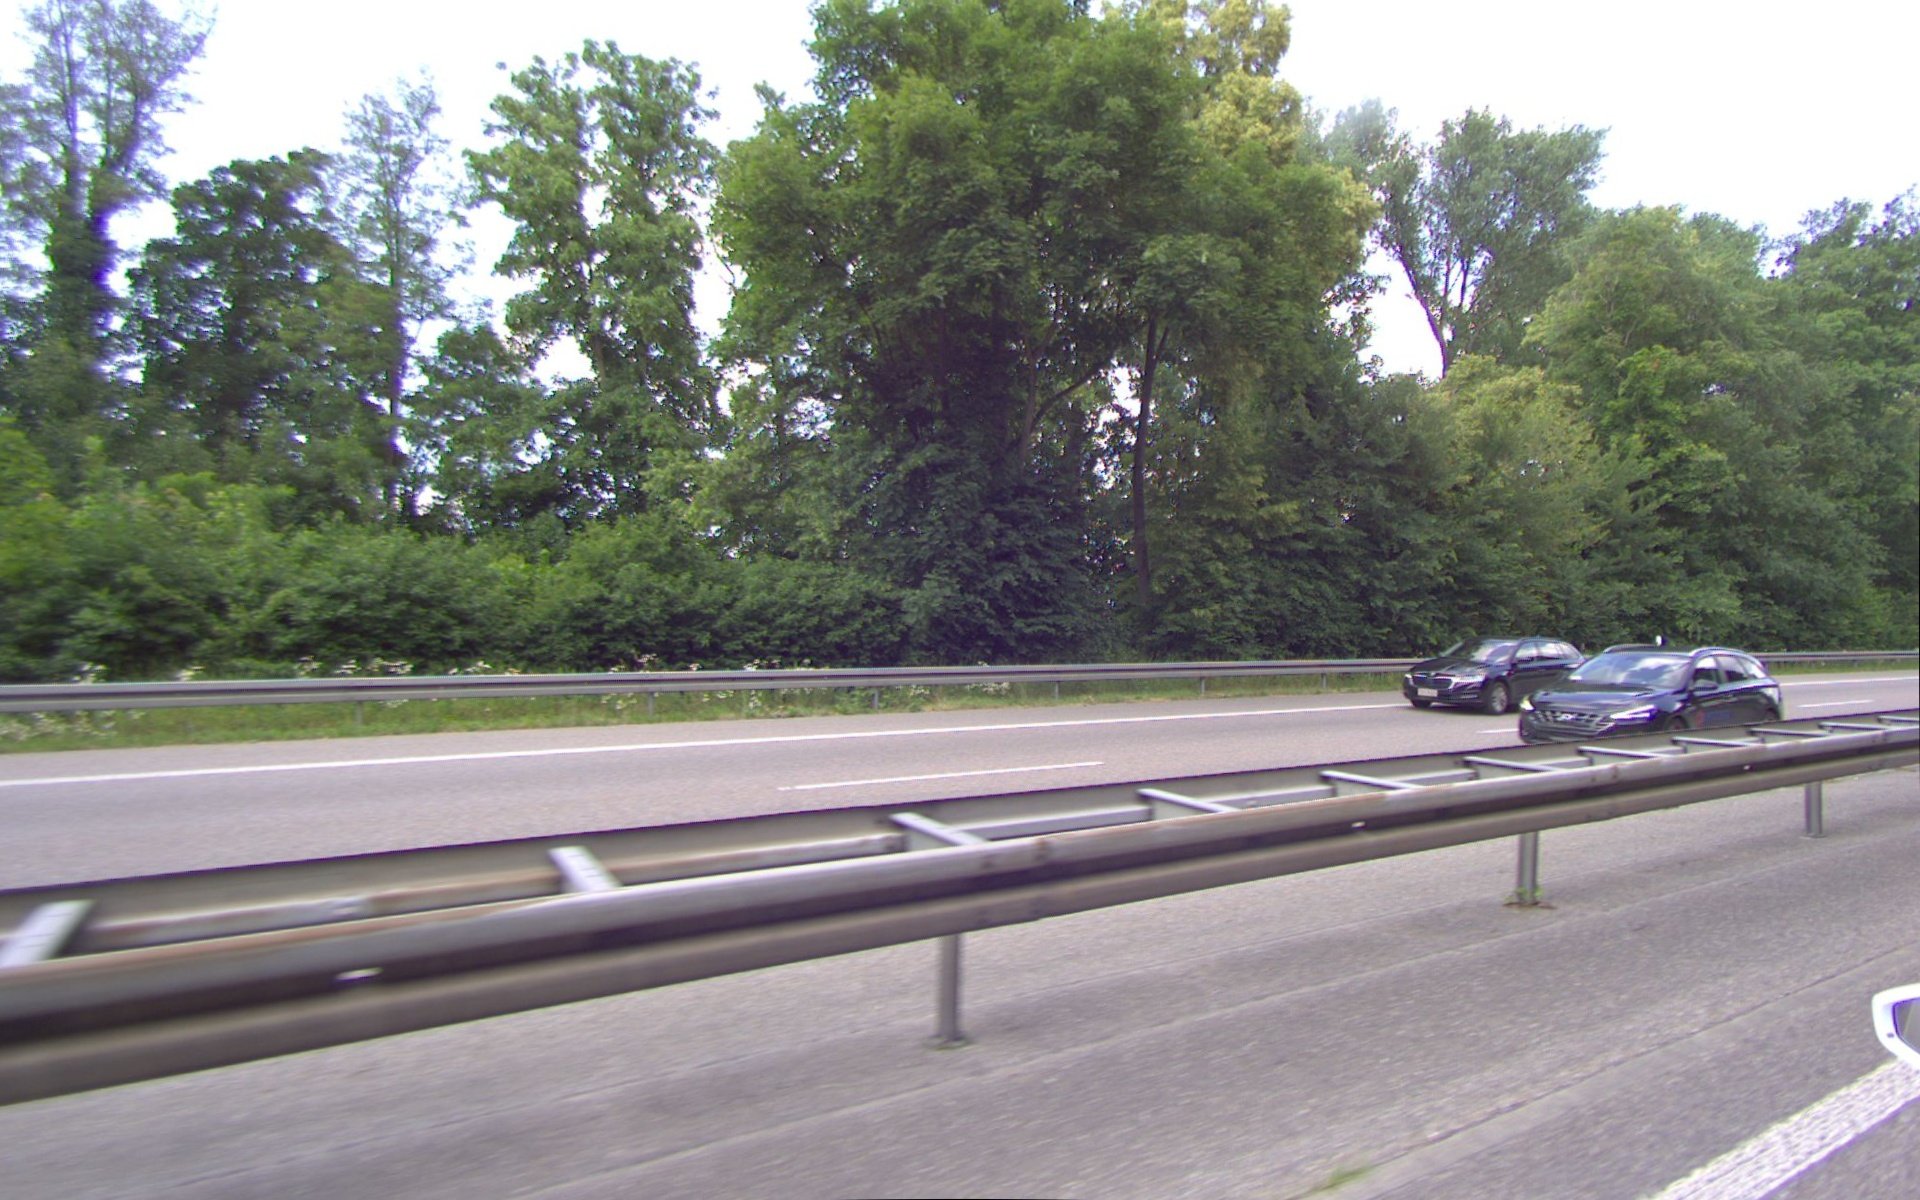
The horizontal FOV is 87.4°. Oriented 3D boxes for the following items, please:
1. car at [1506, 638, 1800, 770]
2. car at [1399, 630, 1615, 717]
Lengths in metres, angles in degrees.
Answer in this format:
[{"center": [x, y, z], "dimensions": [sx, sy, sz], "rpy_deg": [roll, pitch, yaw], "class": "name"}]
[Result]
[{"center": [9.584, 1.306, 13.820], "dimensions": [4.217, 1.539, 1.772], "rpy_deg": [1, -2, -31], "class": "car"}, {"center": [11.157, 1.403, 20.388], "dimensions": [4.803, 1.540, 1.671], "rpy_deg": [1, 0, -31], "class": "car"}]
